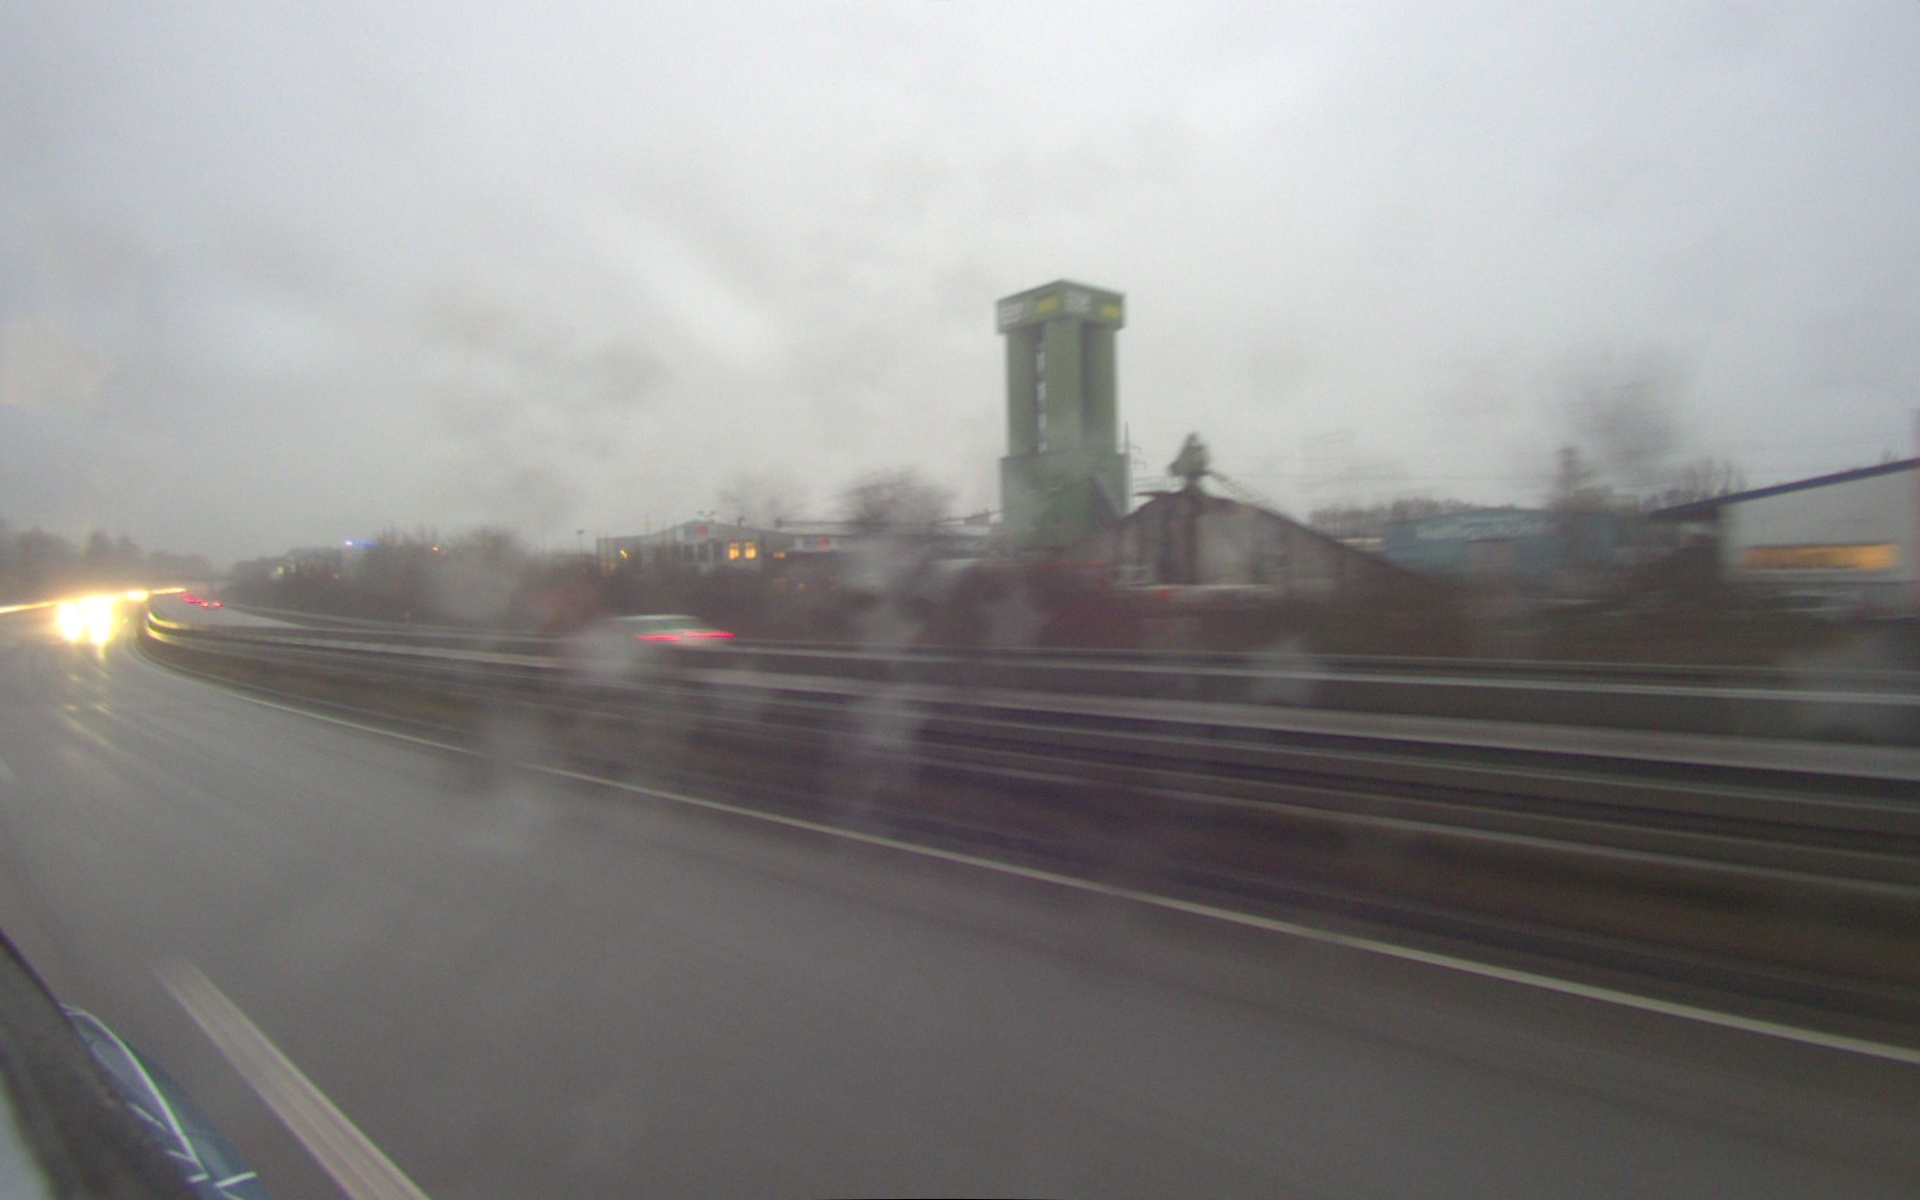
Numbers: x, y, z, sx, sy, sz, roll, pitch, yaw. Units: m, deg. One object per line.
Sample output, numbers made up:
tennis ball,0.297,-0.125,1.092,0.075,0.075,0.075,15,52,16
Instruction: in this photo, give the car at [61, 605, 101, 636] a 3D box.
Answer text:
car,-61.979,1.435,71.394,1.969,2.028,4.006,-4,2,-41

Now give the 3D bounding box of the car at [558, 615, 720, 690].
car,-8.065,1.224,25.205,4.689,1.696,1.774,0,-1,43

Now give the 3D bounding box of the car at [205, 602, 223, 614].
car,-98.767,1.085,133.973,1.740,1.639,4.536,1,-1,-37

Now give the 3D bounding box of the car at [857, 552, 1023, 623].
car,-1.259,-0.484,51.083,3.150,3.235,9.960,1,-1,-37

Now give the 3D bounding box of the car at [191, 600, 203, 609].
car,-141.087,0.844,187.026,1.681,1.486,4.374,0,1,-38
